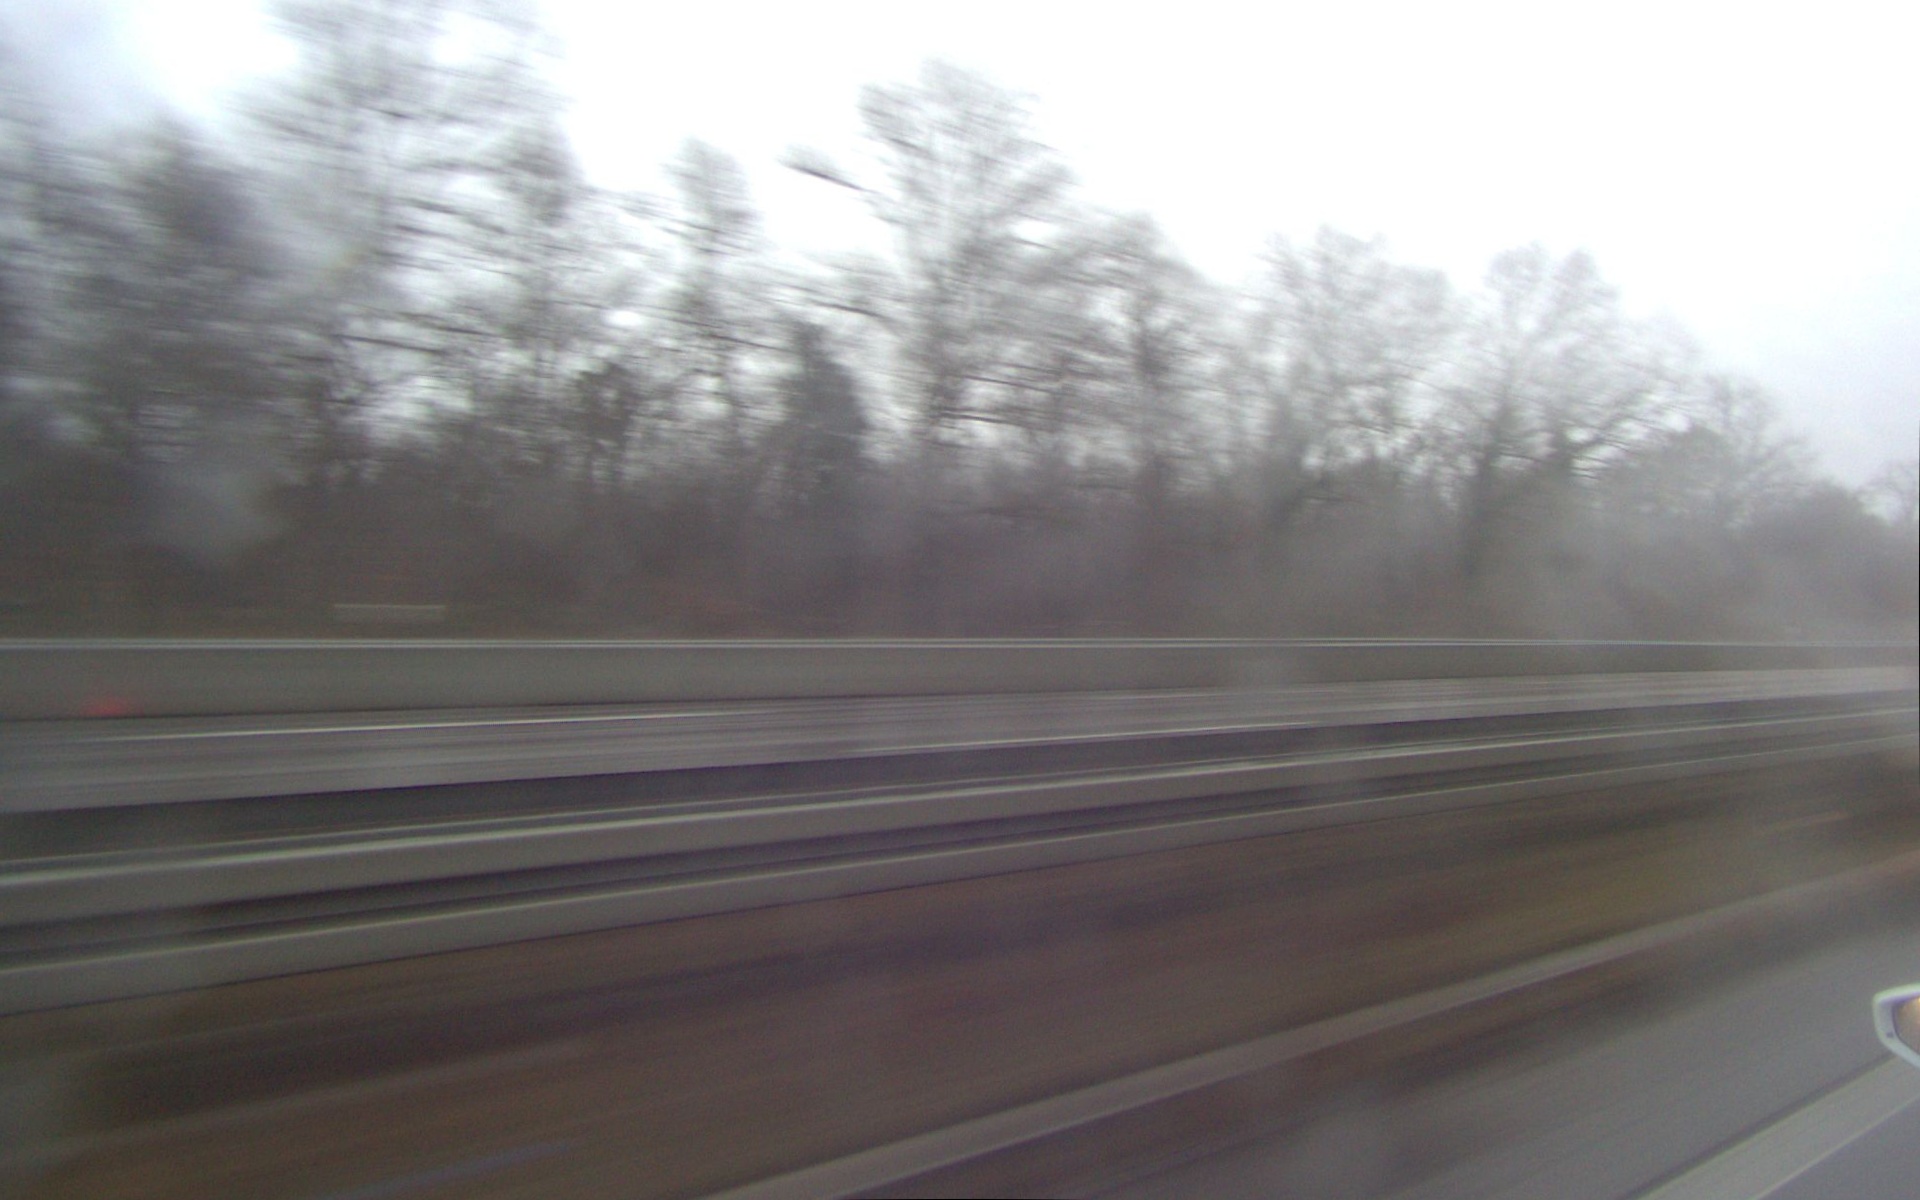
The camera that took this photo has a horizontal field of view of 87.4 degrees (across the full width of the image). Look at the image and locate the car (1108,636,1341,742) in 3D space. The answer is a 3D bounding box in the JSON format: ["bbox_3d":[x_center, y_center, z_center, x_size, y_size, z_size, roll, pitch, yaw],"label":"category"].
[{"bbox_3d":[3.425,1.090,12.913,2.849,1.184,1.267,2,0,-31],"label":"car"}]
